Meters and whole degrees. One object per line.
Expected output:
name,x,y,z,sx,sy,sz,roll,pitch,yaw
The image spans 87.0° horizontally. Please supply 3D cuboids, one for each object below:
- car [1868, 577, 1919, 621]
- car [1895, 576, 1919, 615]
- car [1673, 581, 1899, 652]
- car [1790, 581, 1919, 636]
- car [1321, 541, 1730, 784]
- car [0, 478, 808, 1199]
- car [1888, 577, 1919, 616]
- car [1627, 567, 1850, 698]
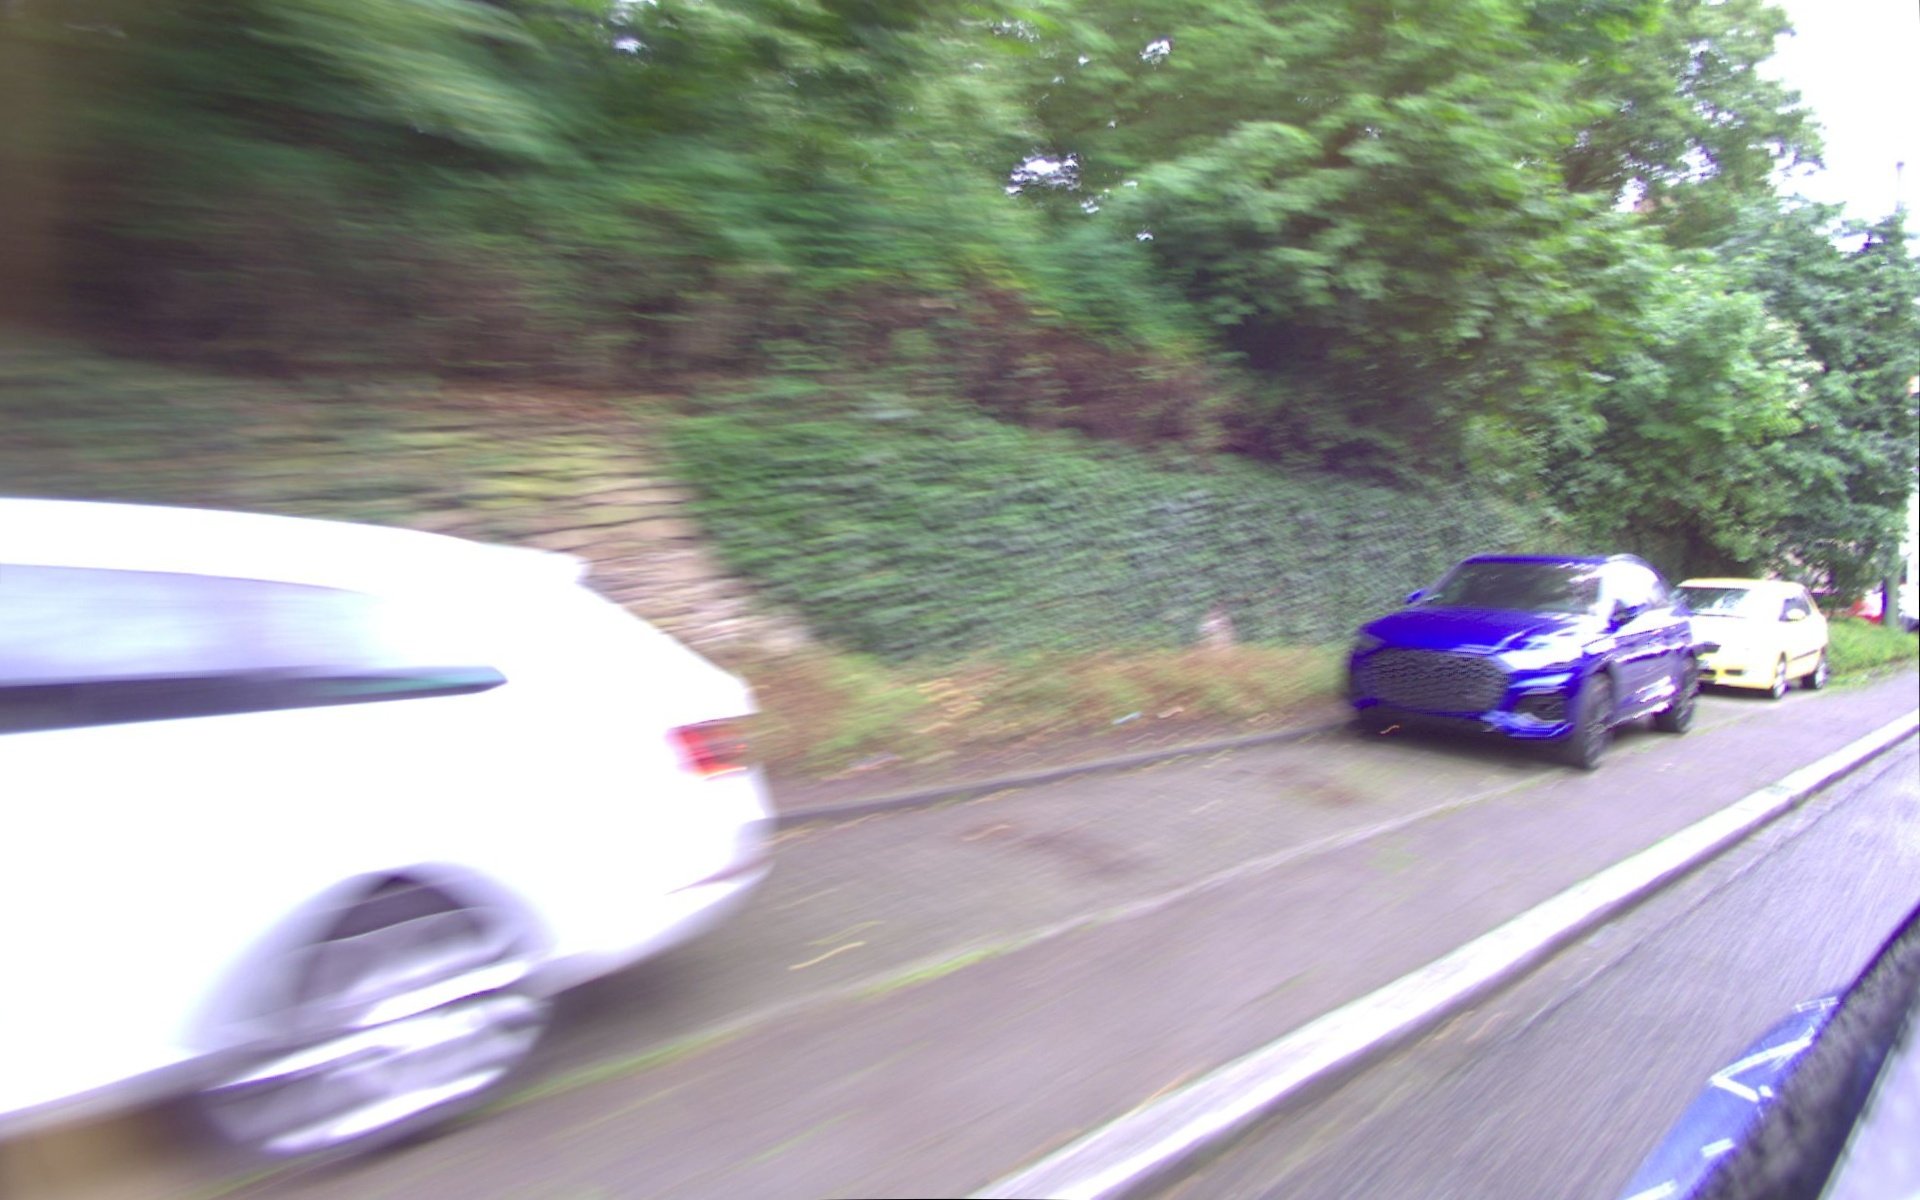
car,38.070,0.070,39.091,1.771,1.592,4.194,0,5,-40
car,43.486,-0.082,43.771,1.772,1.664,4.194,-1,6,-40
car,20.811,0.343,25.633,1.772,1.614,4.191,0,1,-40
car,27.267,0.256,29.713,1.772,1.433,4.193,0,4,-40
car,5.219,0.346,9.037,4.599,1.643,1.768,-1,3,-42
car,-2.807,0.464,2.200,4.655,1.495,1.743,0,4,-40
car,41.672,-0.030,42.129,1.771,1.592,4.194,0,5,-40
car,10.710,0.348,13.840,3.829,1.484,1.568,-1,4,-40
